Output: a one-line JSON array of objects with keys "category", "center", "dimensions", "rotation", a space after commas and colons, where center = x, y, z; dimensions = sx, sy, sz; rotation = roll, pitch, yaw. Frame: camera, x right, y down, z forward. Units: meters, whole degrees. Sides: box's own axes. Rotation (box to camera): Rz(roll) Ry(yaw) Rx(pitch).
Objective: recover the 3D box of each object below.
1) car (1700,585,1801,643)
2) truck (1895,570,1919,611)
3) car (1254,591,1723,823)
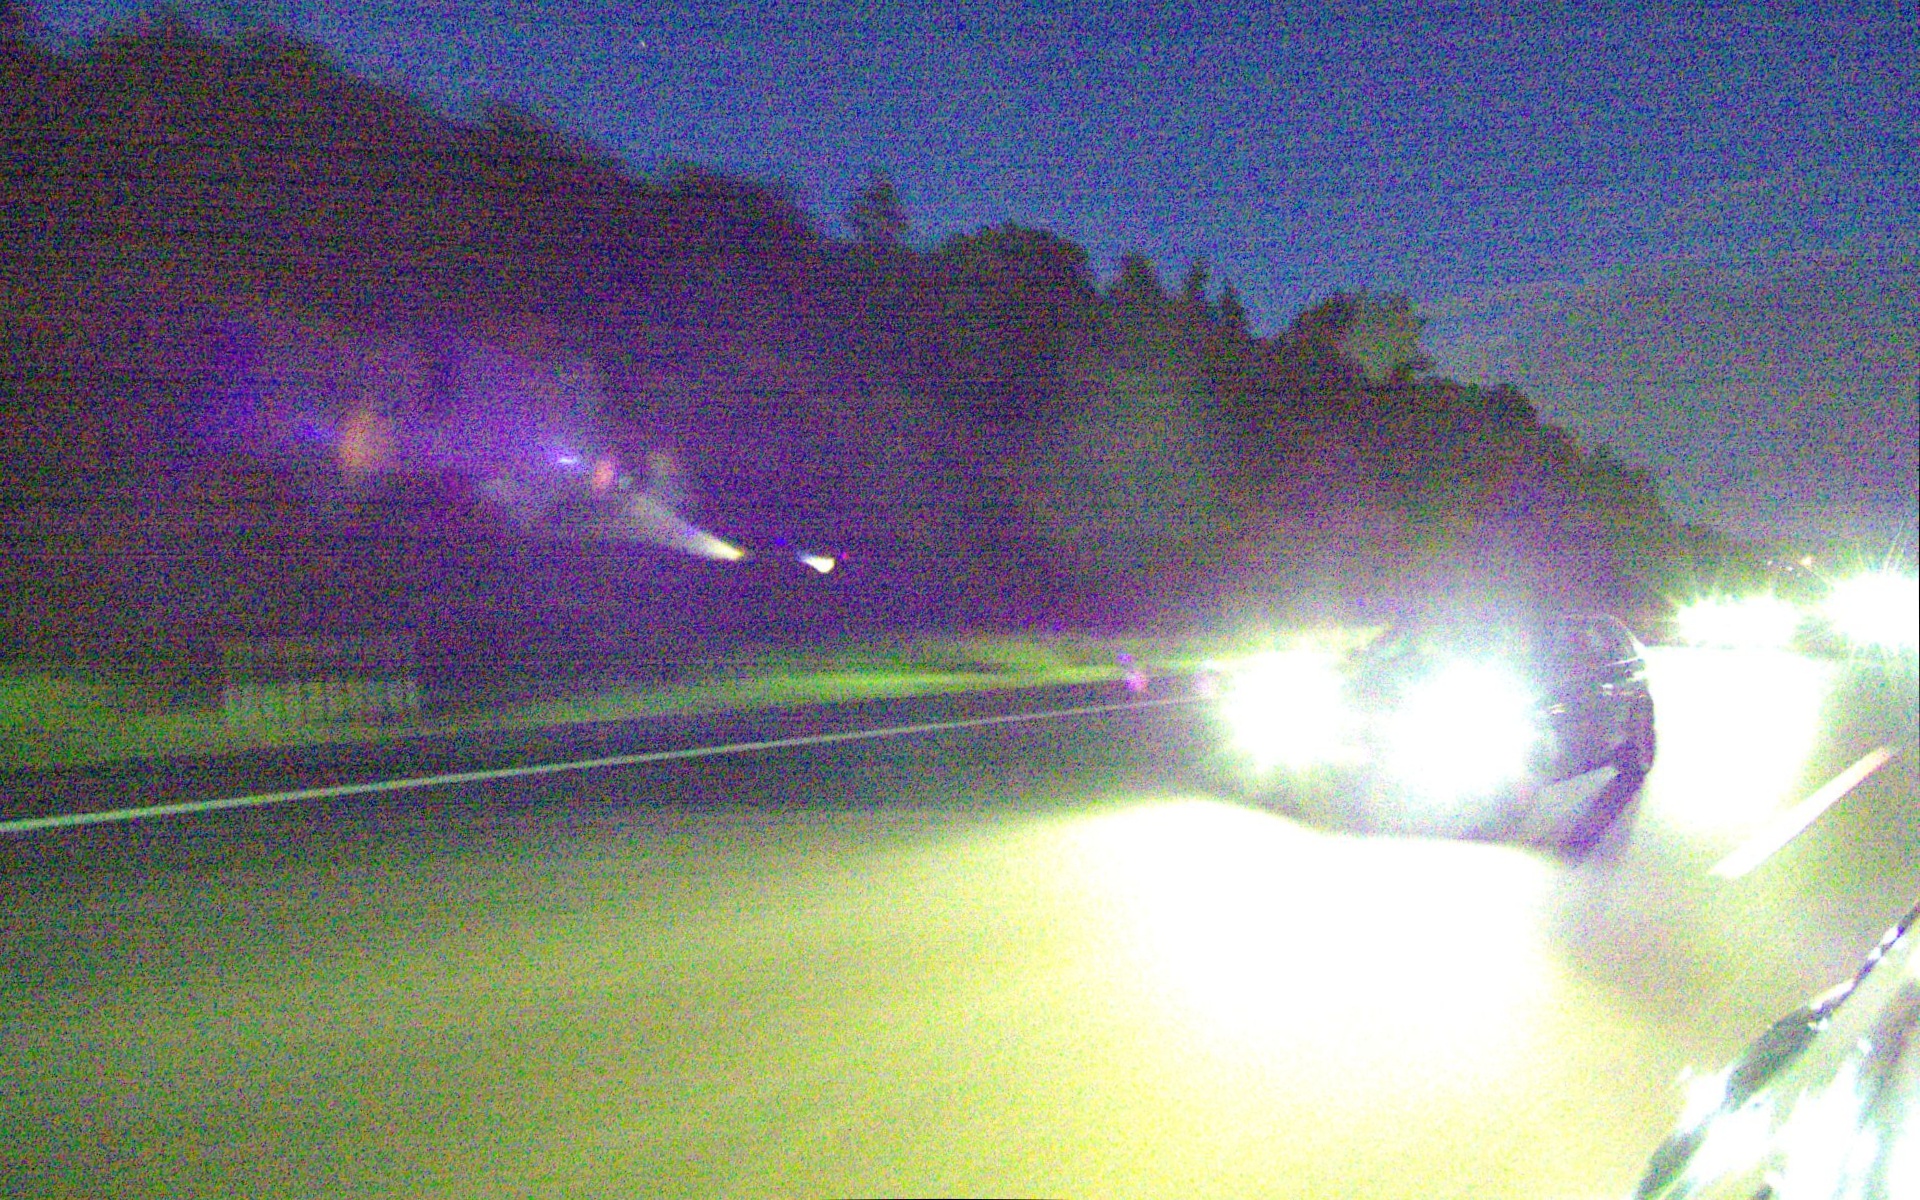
[{"category": "car", "center": [26.085, 0.420, 33.329], "dimensions": [5.082, 1.739, 1.995], "rotation": [0, 0, -44]}, {"category": "truck", "center": [107.135, -1.049, 113.277], "dimensions": [3.334, 4.489, 6.890], "rotation": [0, 0, 41]}, {"category": "car", "center": [4.680, 0.653, 8.550], "dimensions": [4.980, 1.419, 1.838], "rotation": [0, 0, -41]}]
